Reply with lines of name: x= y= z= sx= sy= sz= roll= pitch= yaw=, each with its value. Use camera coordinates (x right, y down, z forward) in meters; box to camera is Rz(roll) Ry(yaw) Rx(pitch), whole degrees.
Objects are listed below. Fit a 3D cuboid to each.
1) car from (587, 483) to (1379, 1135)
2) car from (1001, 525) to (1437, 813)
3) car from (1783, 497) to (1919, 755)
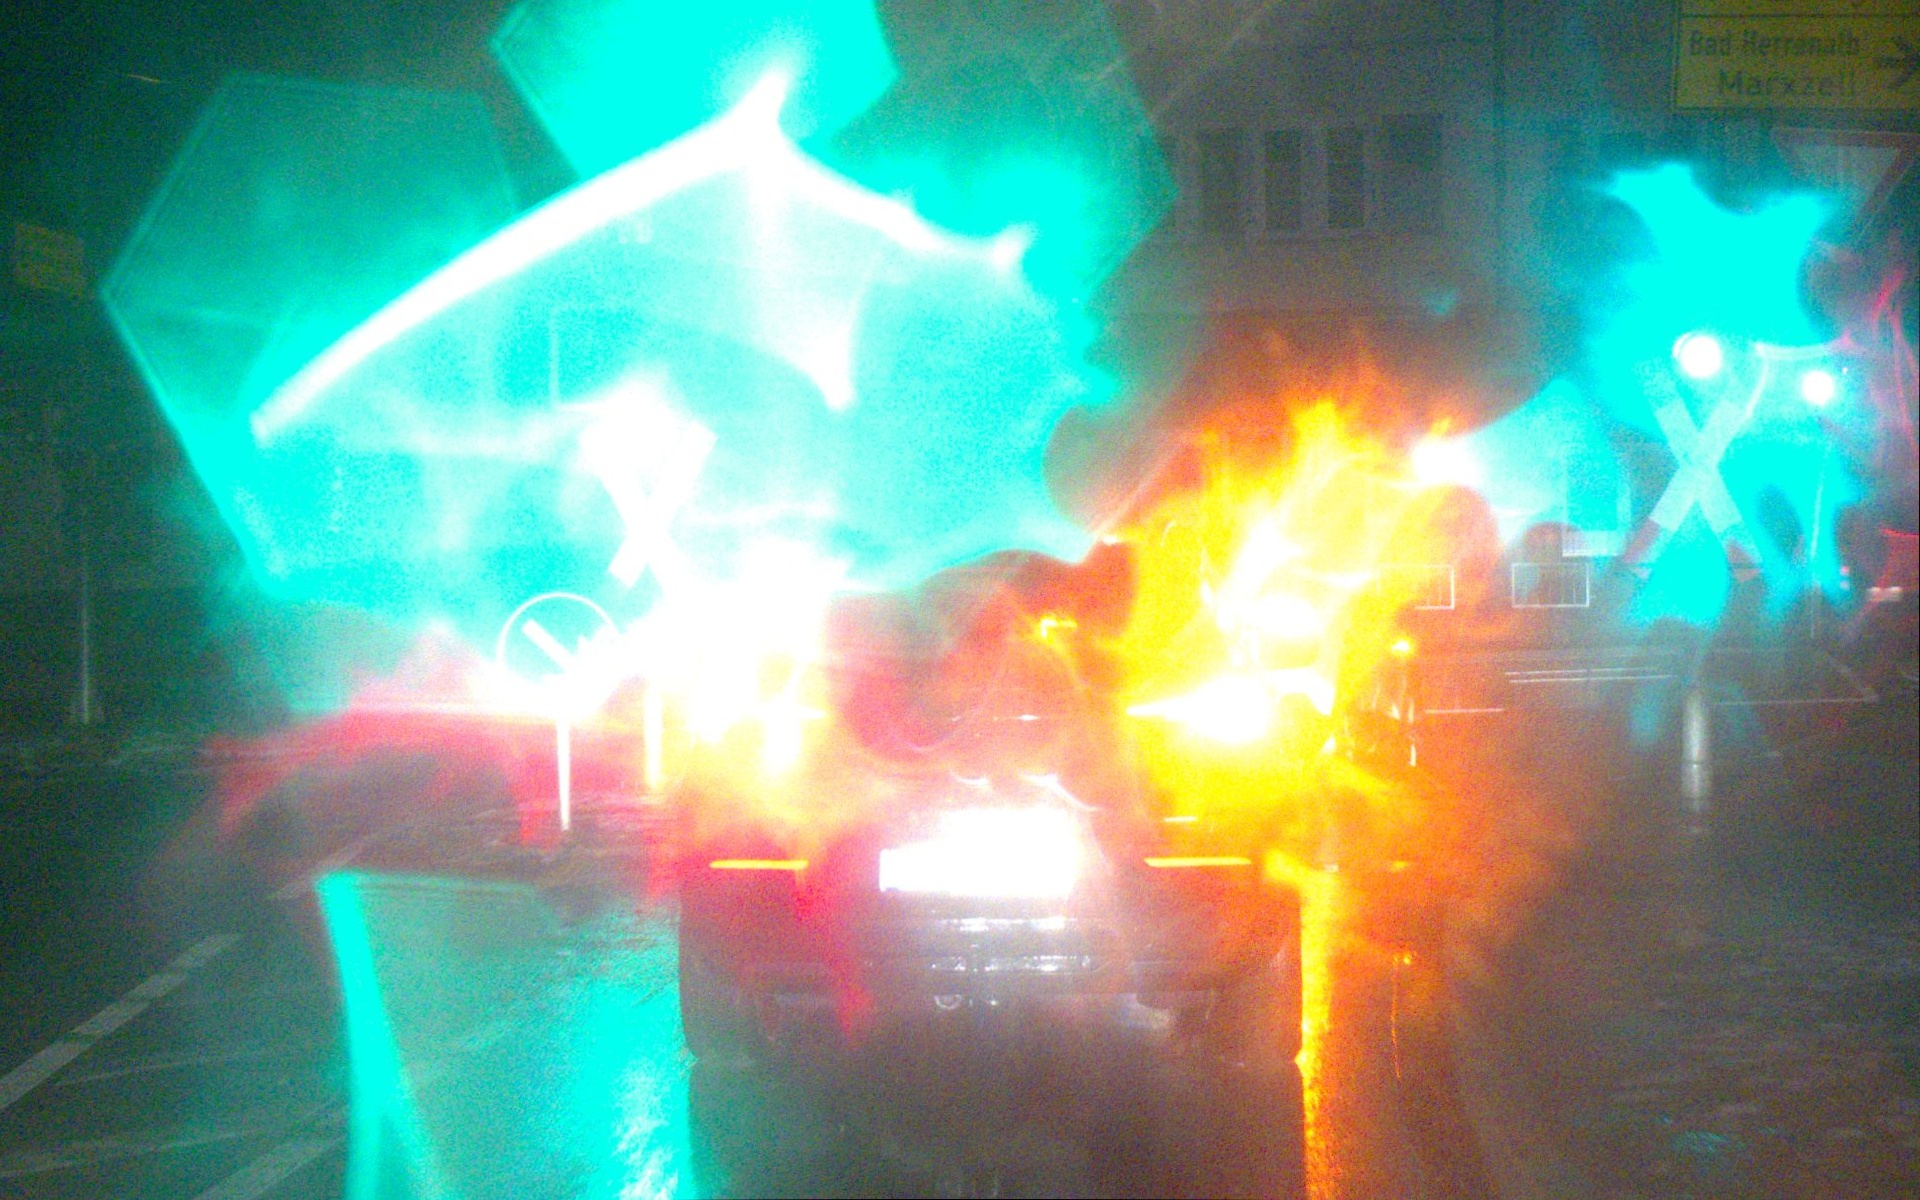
car: x=0.120 y=0.525 z=11.169 sx=2.057 sy=1.672 sz=4.139 roll=1 pitch=1 yaw=2
car: x=1.693 y=0.343 z=20.934 sx=1.911 sy=1.505 sz=4.238 roll=-1 pitch=2 yaw=14
car: x=9.118 y=0.265 z=28.211 sx=4.239 sy=1.940 sz=1.778 roll=2 pitch=2 yaw=-22
